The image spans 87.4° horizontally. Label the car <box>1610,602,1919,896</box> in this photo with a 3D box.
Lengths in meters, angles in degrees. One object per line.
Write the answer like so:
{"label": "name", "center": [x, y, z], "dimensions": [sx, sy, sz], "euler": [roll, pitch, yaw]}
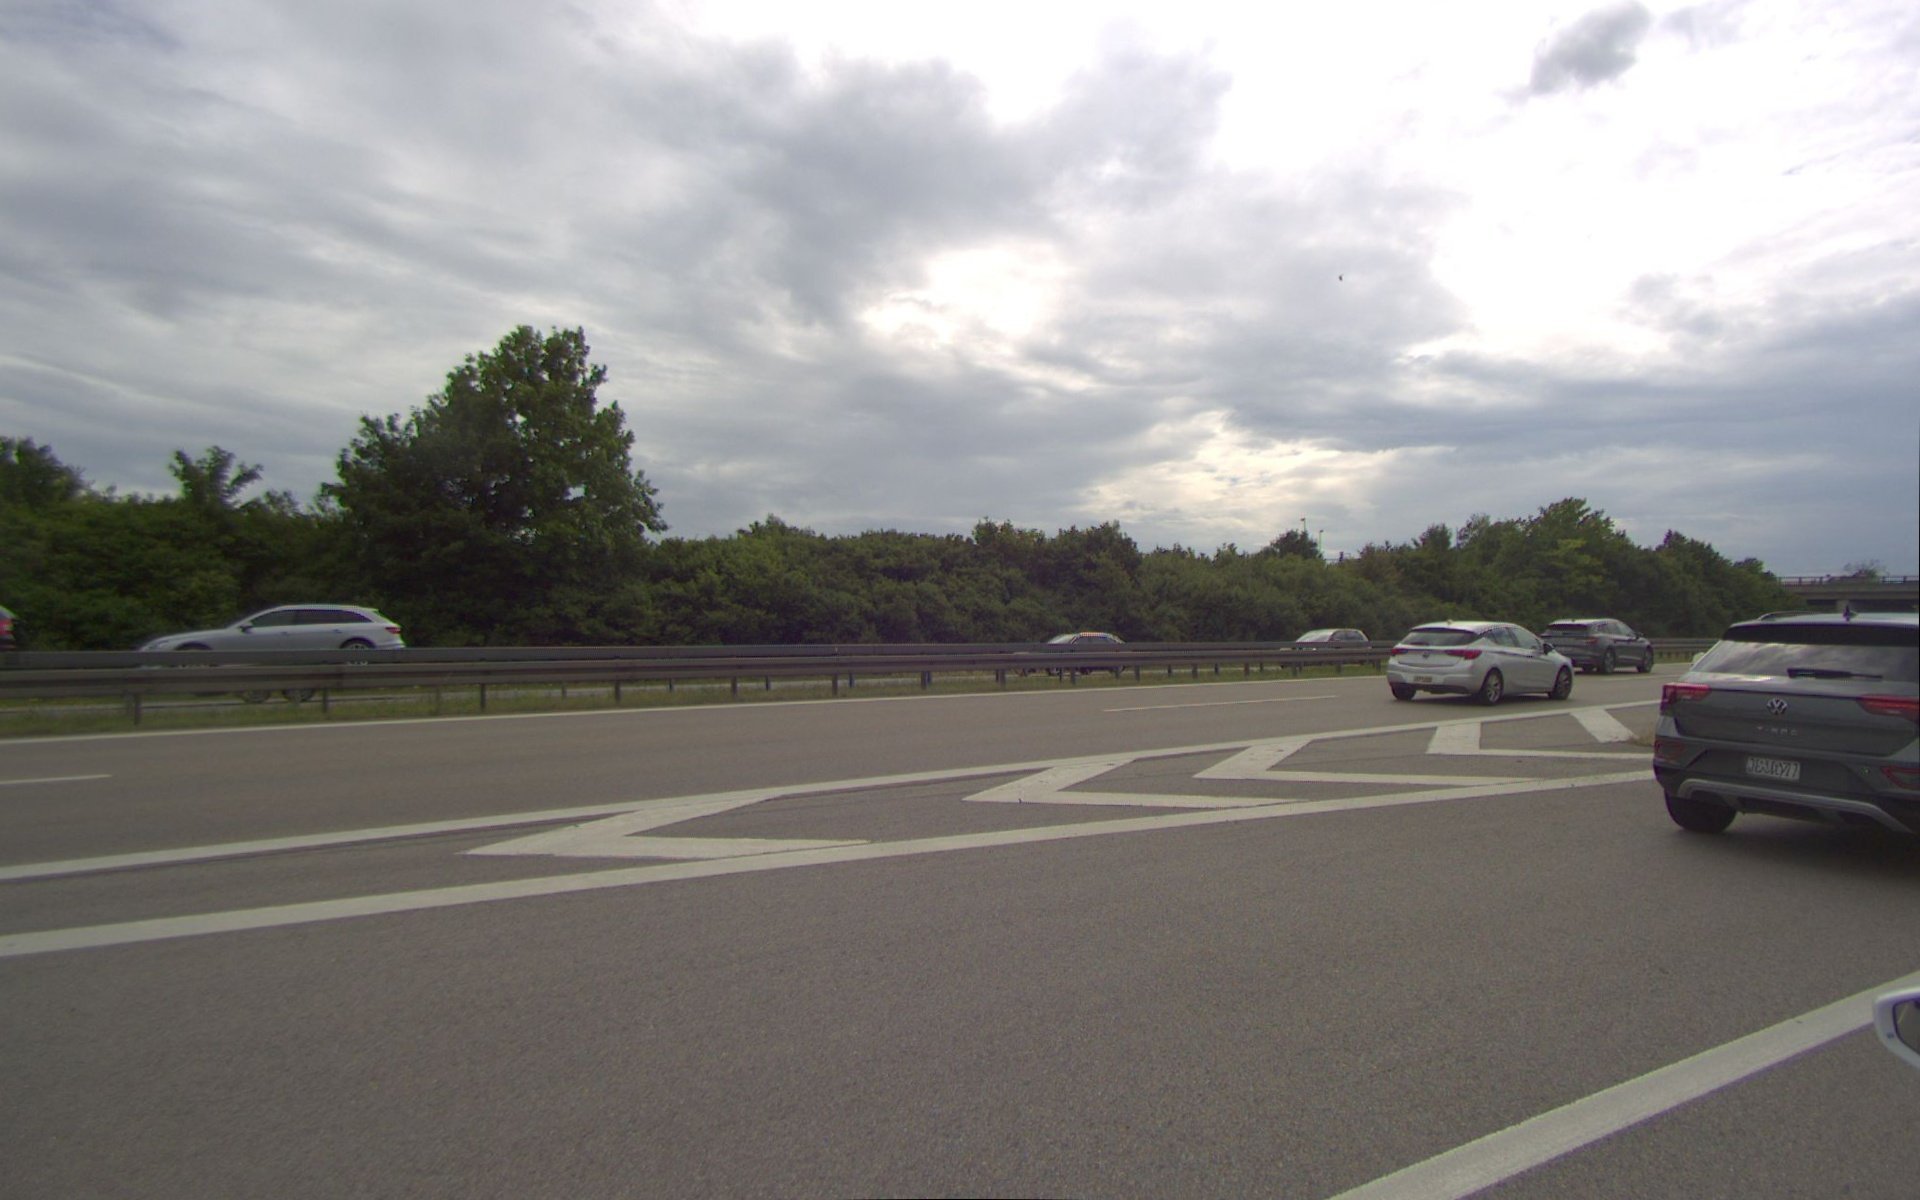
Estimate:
{"label": "car", "center": [6.585, 0.861, 6.936], "dimensions": [3.910, 1.576, 1.789], "euler": [2, -1, -27]}

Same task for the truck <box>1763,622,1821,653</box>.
{"label": "truck", "center": [57.155, 2.535, 68.987], "dimensions": [4.674, 2.040, 1.980], "euler": [1, -1, -36]}

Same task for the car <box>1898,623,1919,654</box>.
{"label": "car", "center": [54.850, 2.165, 56.534], "dimensions": [4.261, 1.692, 2.083], "euler": [1, -1, -34]}

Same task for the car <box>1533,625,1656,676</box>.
{"label": "car", "center": [19.132, 1.466, 30.230], "dimensions": [4.266, 1.417, 1.767], "euler": [1, -1, -37]}

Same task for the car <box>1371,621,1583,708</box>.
{"label": "car", "center": [9.511, 1.117, 18.402], "dimensions": [3.986, 1.417, 1.769], "euler": [1, -1, -34]}

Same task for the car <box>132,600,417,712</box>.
{"label": "car", "center": [-14.582, 1.137, 21.617], "dimensions": [4.829, 2.161, 2.147], "euler": [1, -1, -37]}

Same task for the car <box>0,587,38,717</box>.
{"label": "car", "center": [-20.459, 0.895, 17.203], "dimensions": [6.614, 2.361, 2.147], "euler": [1, -1, -37]}
